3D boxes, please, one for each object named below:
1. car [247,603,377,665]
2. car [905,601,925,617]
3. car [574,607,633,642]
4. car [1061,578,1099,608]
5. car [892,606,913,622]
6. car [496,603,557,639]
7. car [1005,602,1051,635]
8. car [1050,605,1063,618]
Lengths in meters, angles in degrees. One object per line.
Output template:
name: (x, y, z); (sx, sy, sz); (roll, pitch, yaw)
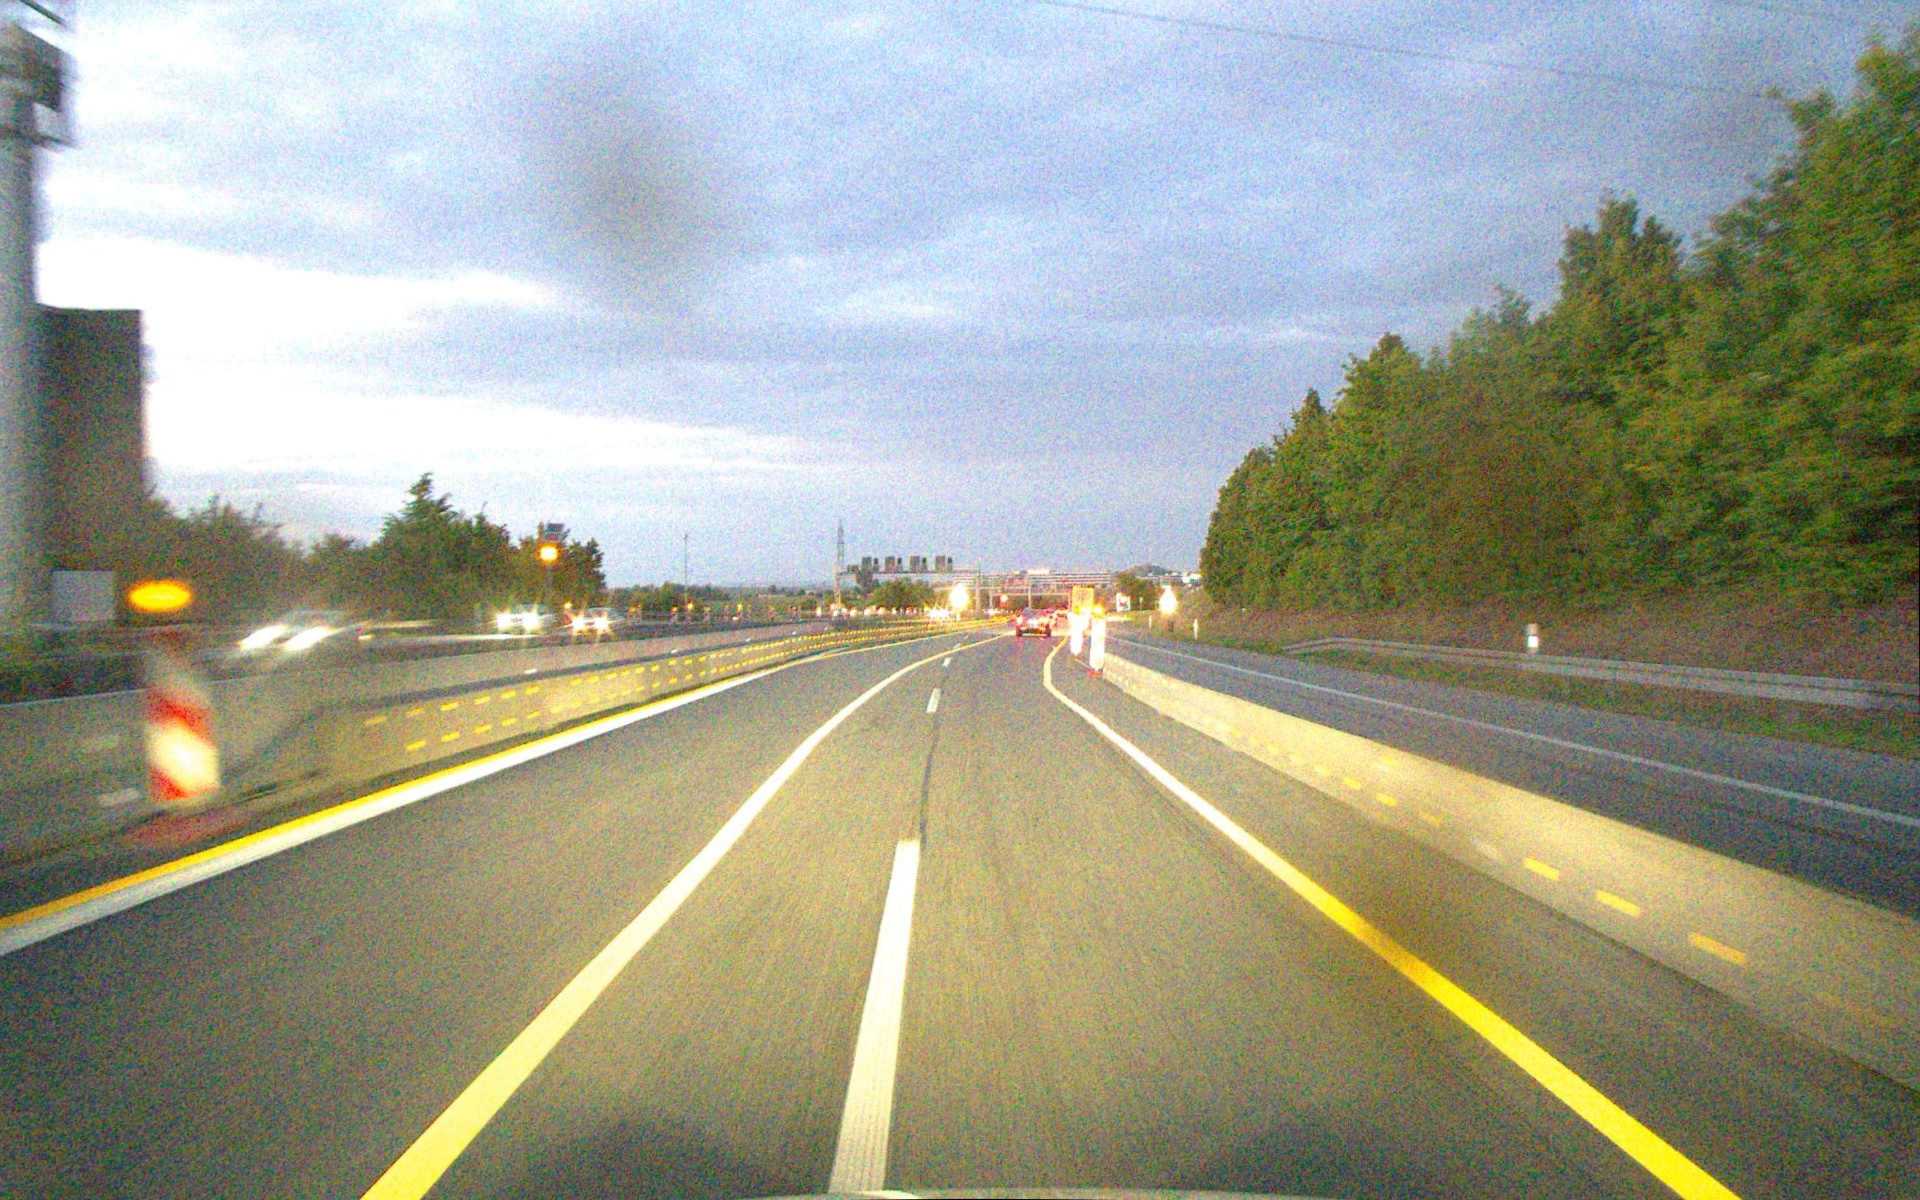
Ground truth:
car: (-19.265, 0.983, 49.402); (1.792, 1.690, 4.842); (1, 0, 2)
car: (-5.301, 1.105, 196.933); (1.952, 1.860, 4.002); (1, 0, 4)
car: (-18.152, 1.236, 84.387); (1.792, 1.690, 4.842); (1, 0, 2)
car: (14.341, -0.778, 198.766); (3.533, 3.455, 8.009); (2, 0, -3)
car: (-6.625, 1.646, 189.724); (1.952, 1.744, 4.002); (1, 0, 4)
car: (-22.218, 1.059, 84.862); (1.867, 1.744, 3.944); (1, 0, 3)
car: (3.552, 0.961, 87.113); (2.219, 1.650, 3.999); (2, 0, -1)
car: (15.204, 1.807, 260.906); (1.952, 2.049, 4.002); (1, 0, 3)
